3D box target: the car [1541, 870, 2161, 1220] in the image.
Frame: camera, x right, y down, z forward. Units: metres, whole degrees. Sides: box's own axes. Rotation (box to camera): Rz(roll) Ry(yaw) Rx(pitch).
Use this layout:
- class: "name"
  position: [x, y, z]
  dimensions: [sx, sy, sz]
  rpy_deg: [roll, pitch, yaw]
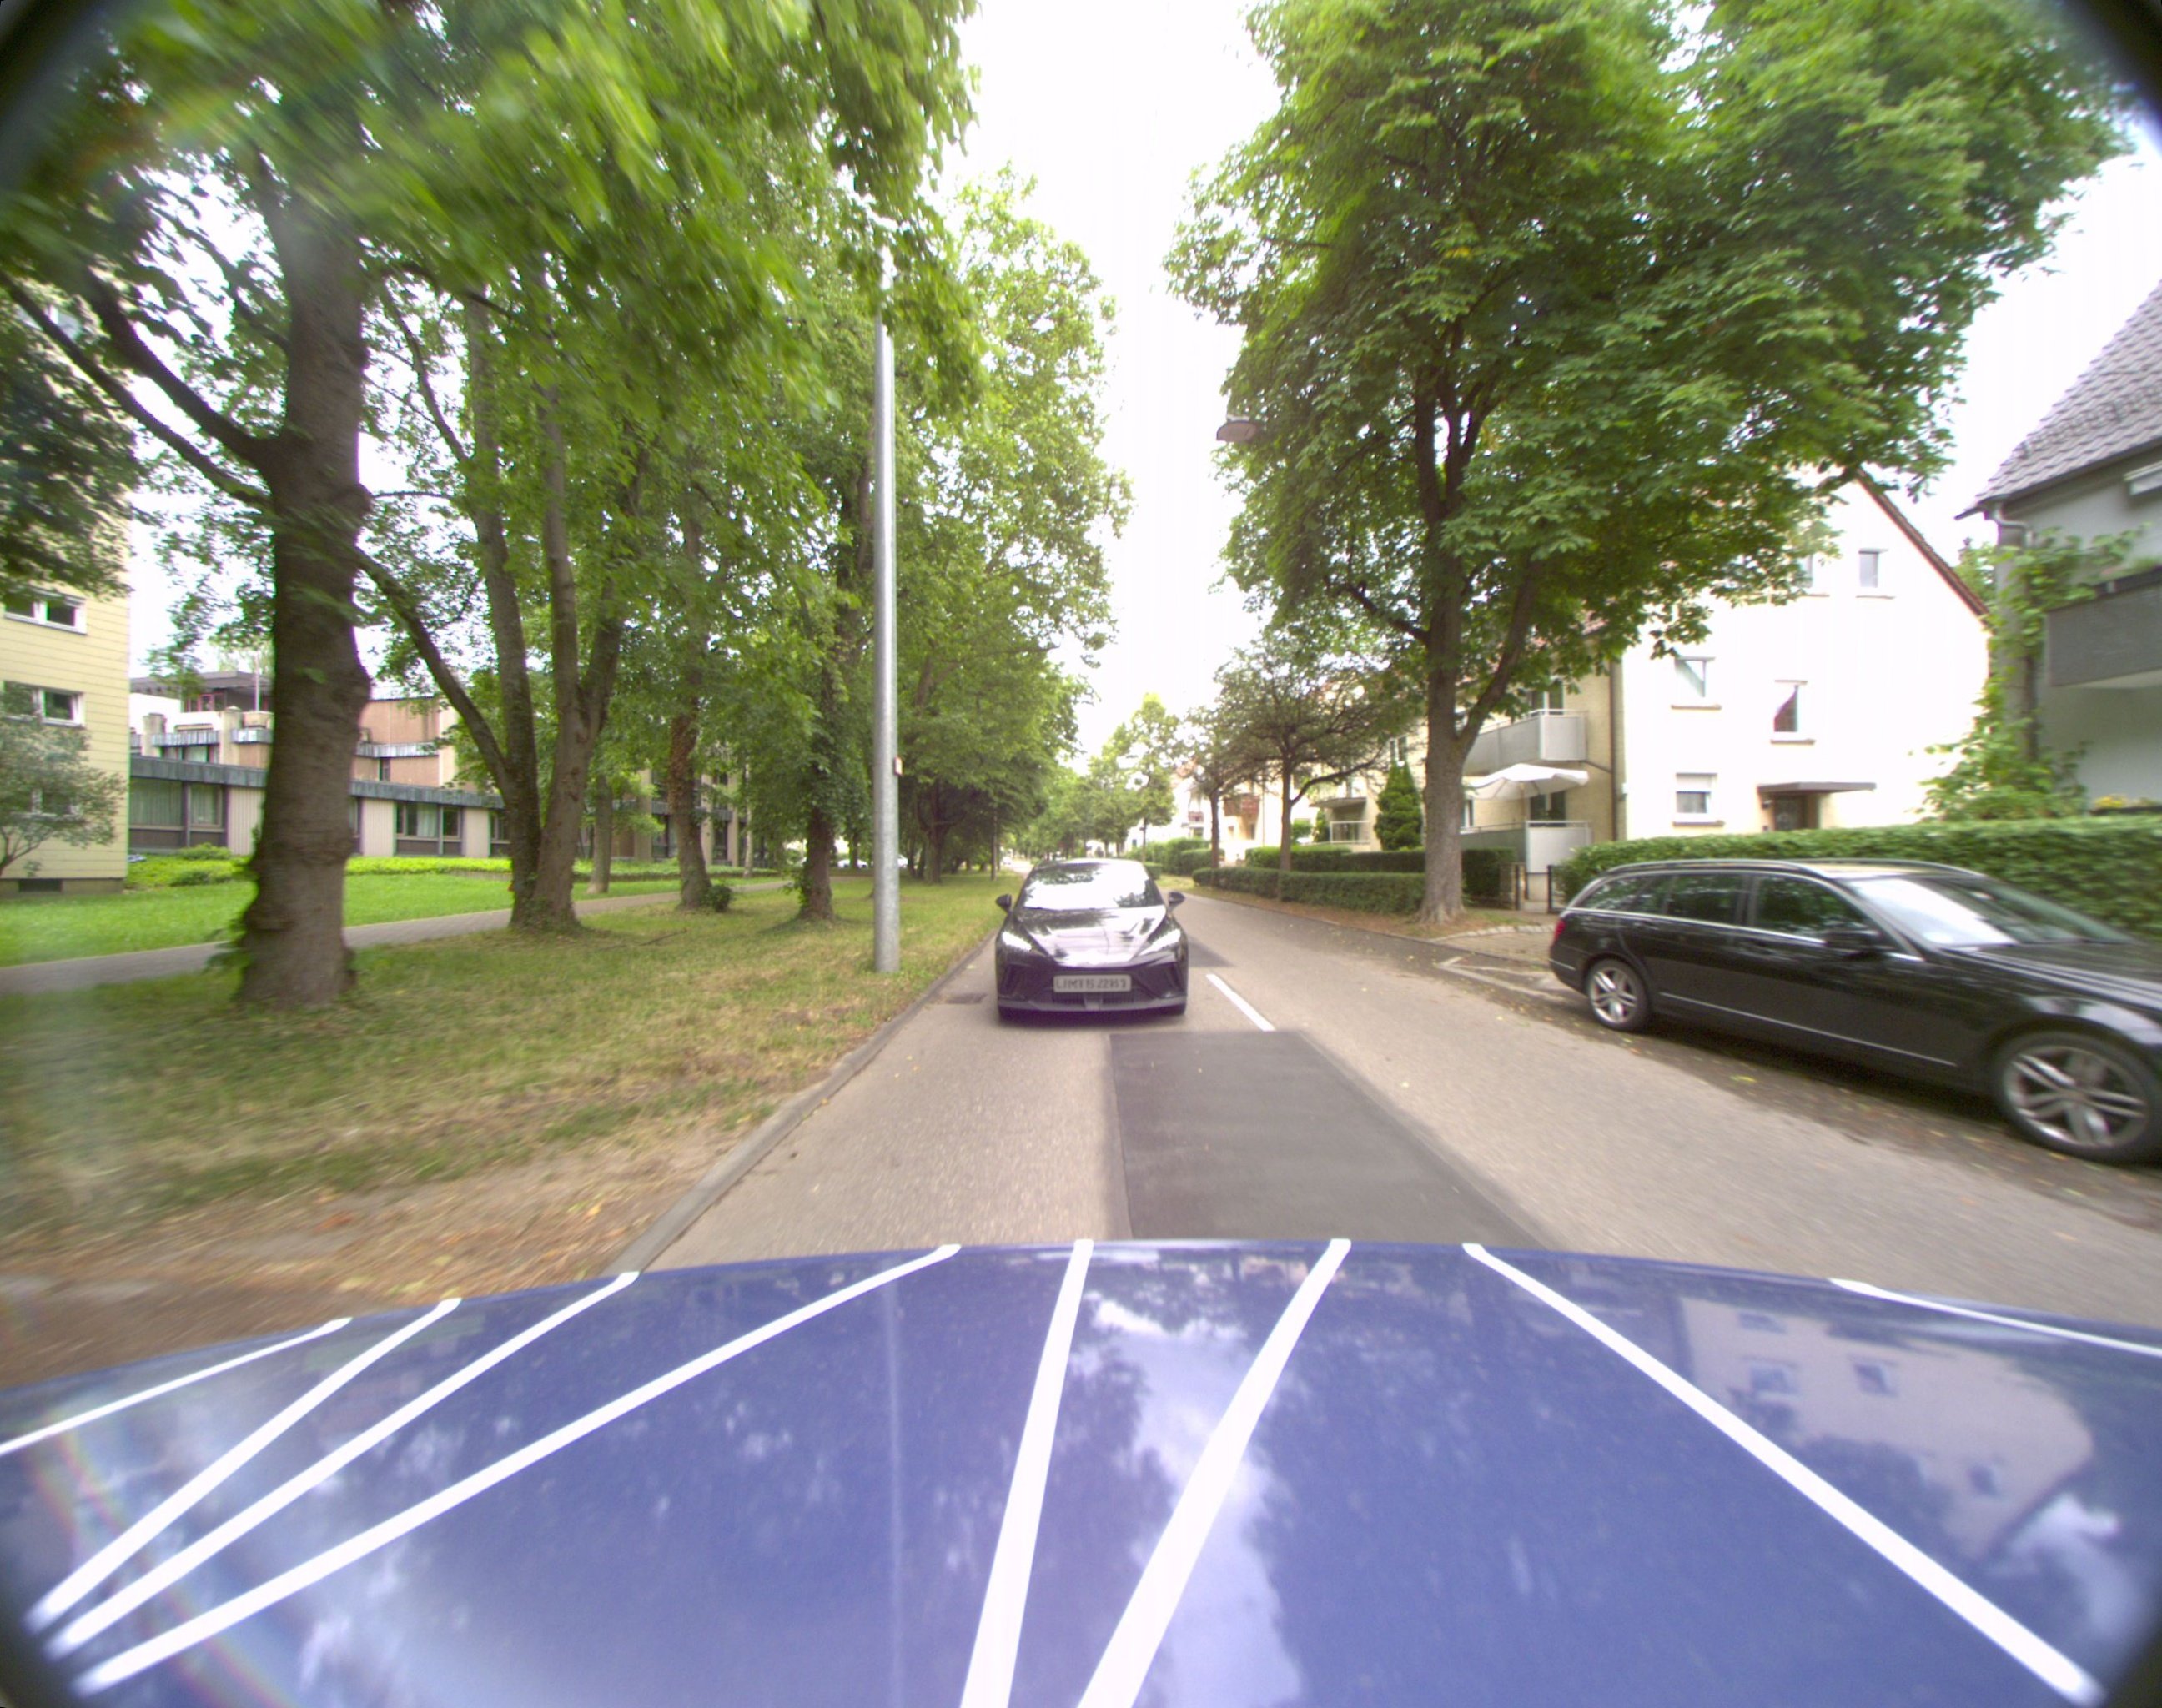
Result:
- class: "car"
  position: [5.484, 0.888, 5.088]
  dimensions: [1.800, 1.463, 4.415]
  rpy_deg: [1, 0, -6]

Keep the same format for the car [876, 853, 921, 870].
- class: "car"
  position: [-24.044, 0.981, 100.276]
  dimensions: [5.337, 2.285, 2.286]
  rpy_deg: [0, -1, -39]

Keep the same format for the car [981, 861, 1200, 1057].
- class: "car"
  position: [0.075, 0.902, 8.611]
  dimensions: [1.799, 1.552, 4.471]
  rpy_deg: [-1, 0, 0]

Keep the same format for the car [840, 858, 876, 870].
- class: "car"
  position: [-28.191, 1.310, 96.315]
  dimensions: [1.795, 1.501, 4.009]
  rpy_deg: [-1, -1, 44]

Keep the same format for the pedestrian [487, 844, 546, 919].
- class: "pedestrian"
  position: [-13.022, 0.619, 17.555]
  dimensions: [0.770, 1.676, 0.814]
  rpy_deg: [1, 0, -5]

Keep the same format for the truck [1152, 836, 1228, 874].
- class: "truck"
  position: [9.111, 0.087, 63.725]
  dimensions: [5.814, 3.112, 2.516]
  rpy_deg: [-1, 0, -7]
